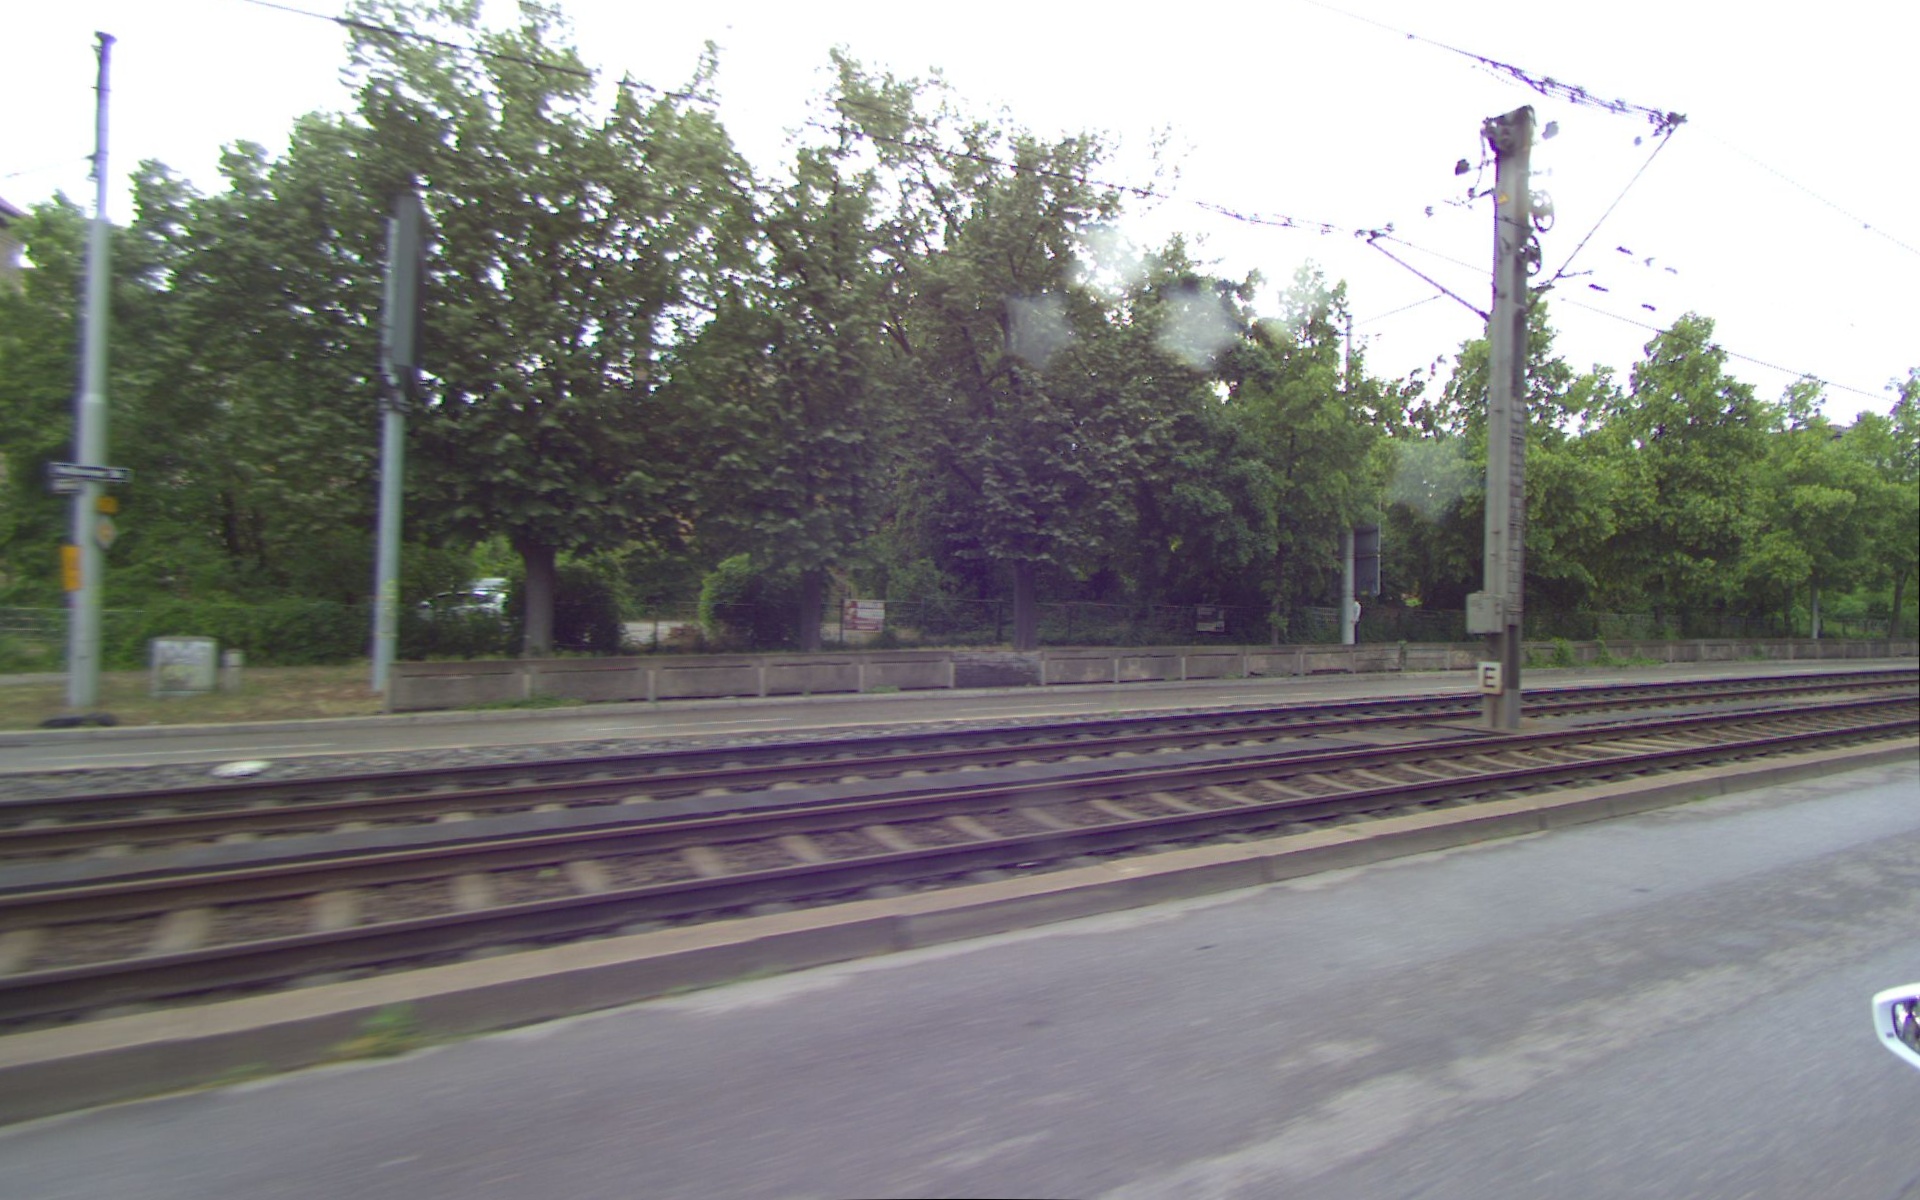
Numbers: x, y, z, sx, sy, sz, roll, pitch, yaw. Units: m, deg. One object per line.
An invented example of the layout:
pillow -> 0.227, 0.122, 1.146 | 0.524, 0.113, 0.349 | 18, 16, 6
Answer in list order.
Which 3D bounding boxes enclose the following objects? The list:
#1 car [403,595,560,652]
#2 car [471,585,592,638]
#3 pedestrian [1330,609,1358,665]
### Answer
car -> -14.582, 0.699, 30.830 | 3.929, 1.643, 1.996 | 1, 0, -11
car -> -16.411, 0.443, 38.638 | 3.929, 1.933, 1.996 | 0, 0, -11
pedestrian -> 13.322, 1.276, 34.849 | 0.646, 1.928, 0.593 | 1, 0, -30
